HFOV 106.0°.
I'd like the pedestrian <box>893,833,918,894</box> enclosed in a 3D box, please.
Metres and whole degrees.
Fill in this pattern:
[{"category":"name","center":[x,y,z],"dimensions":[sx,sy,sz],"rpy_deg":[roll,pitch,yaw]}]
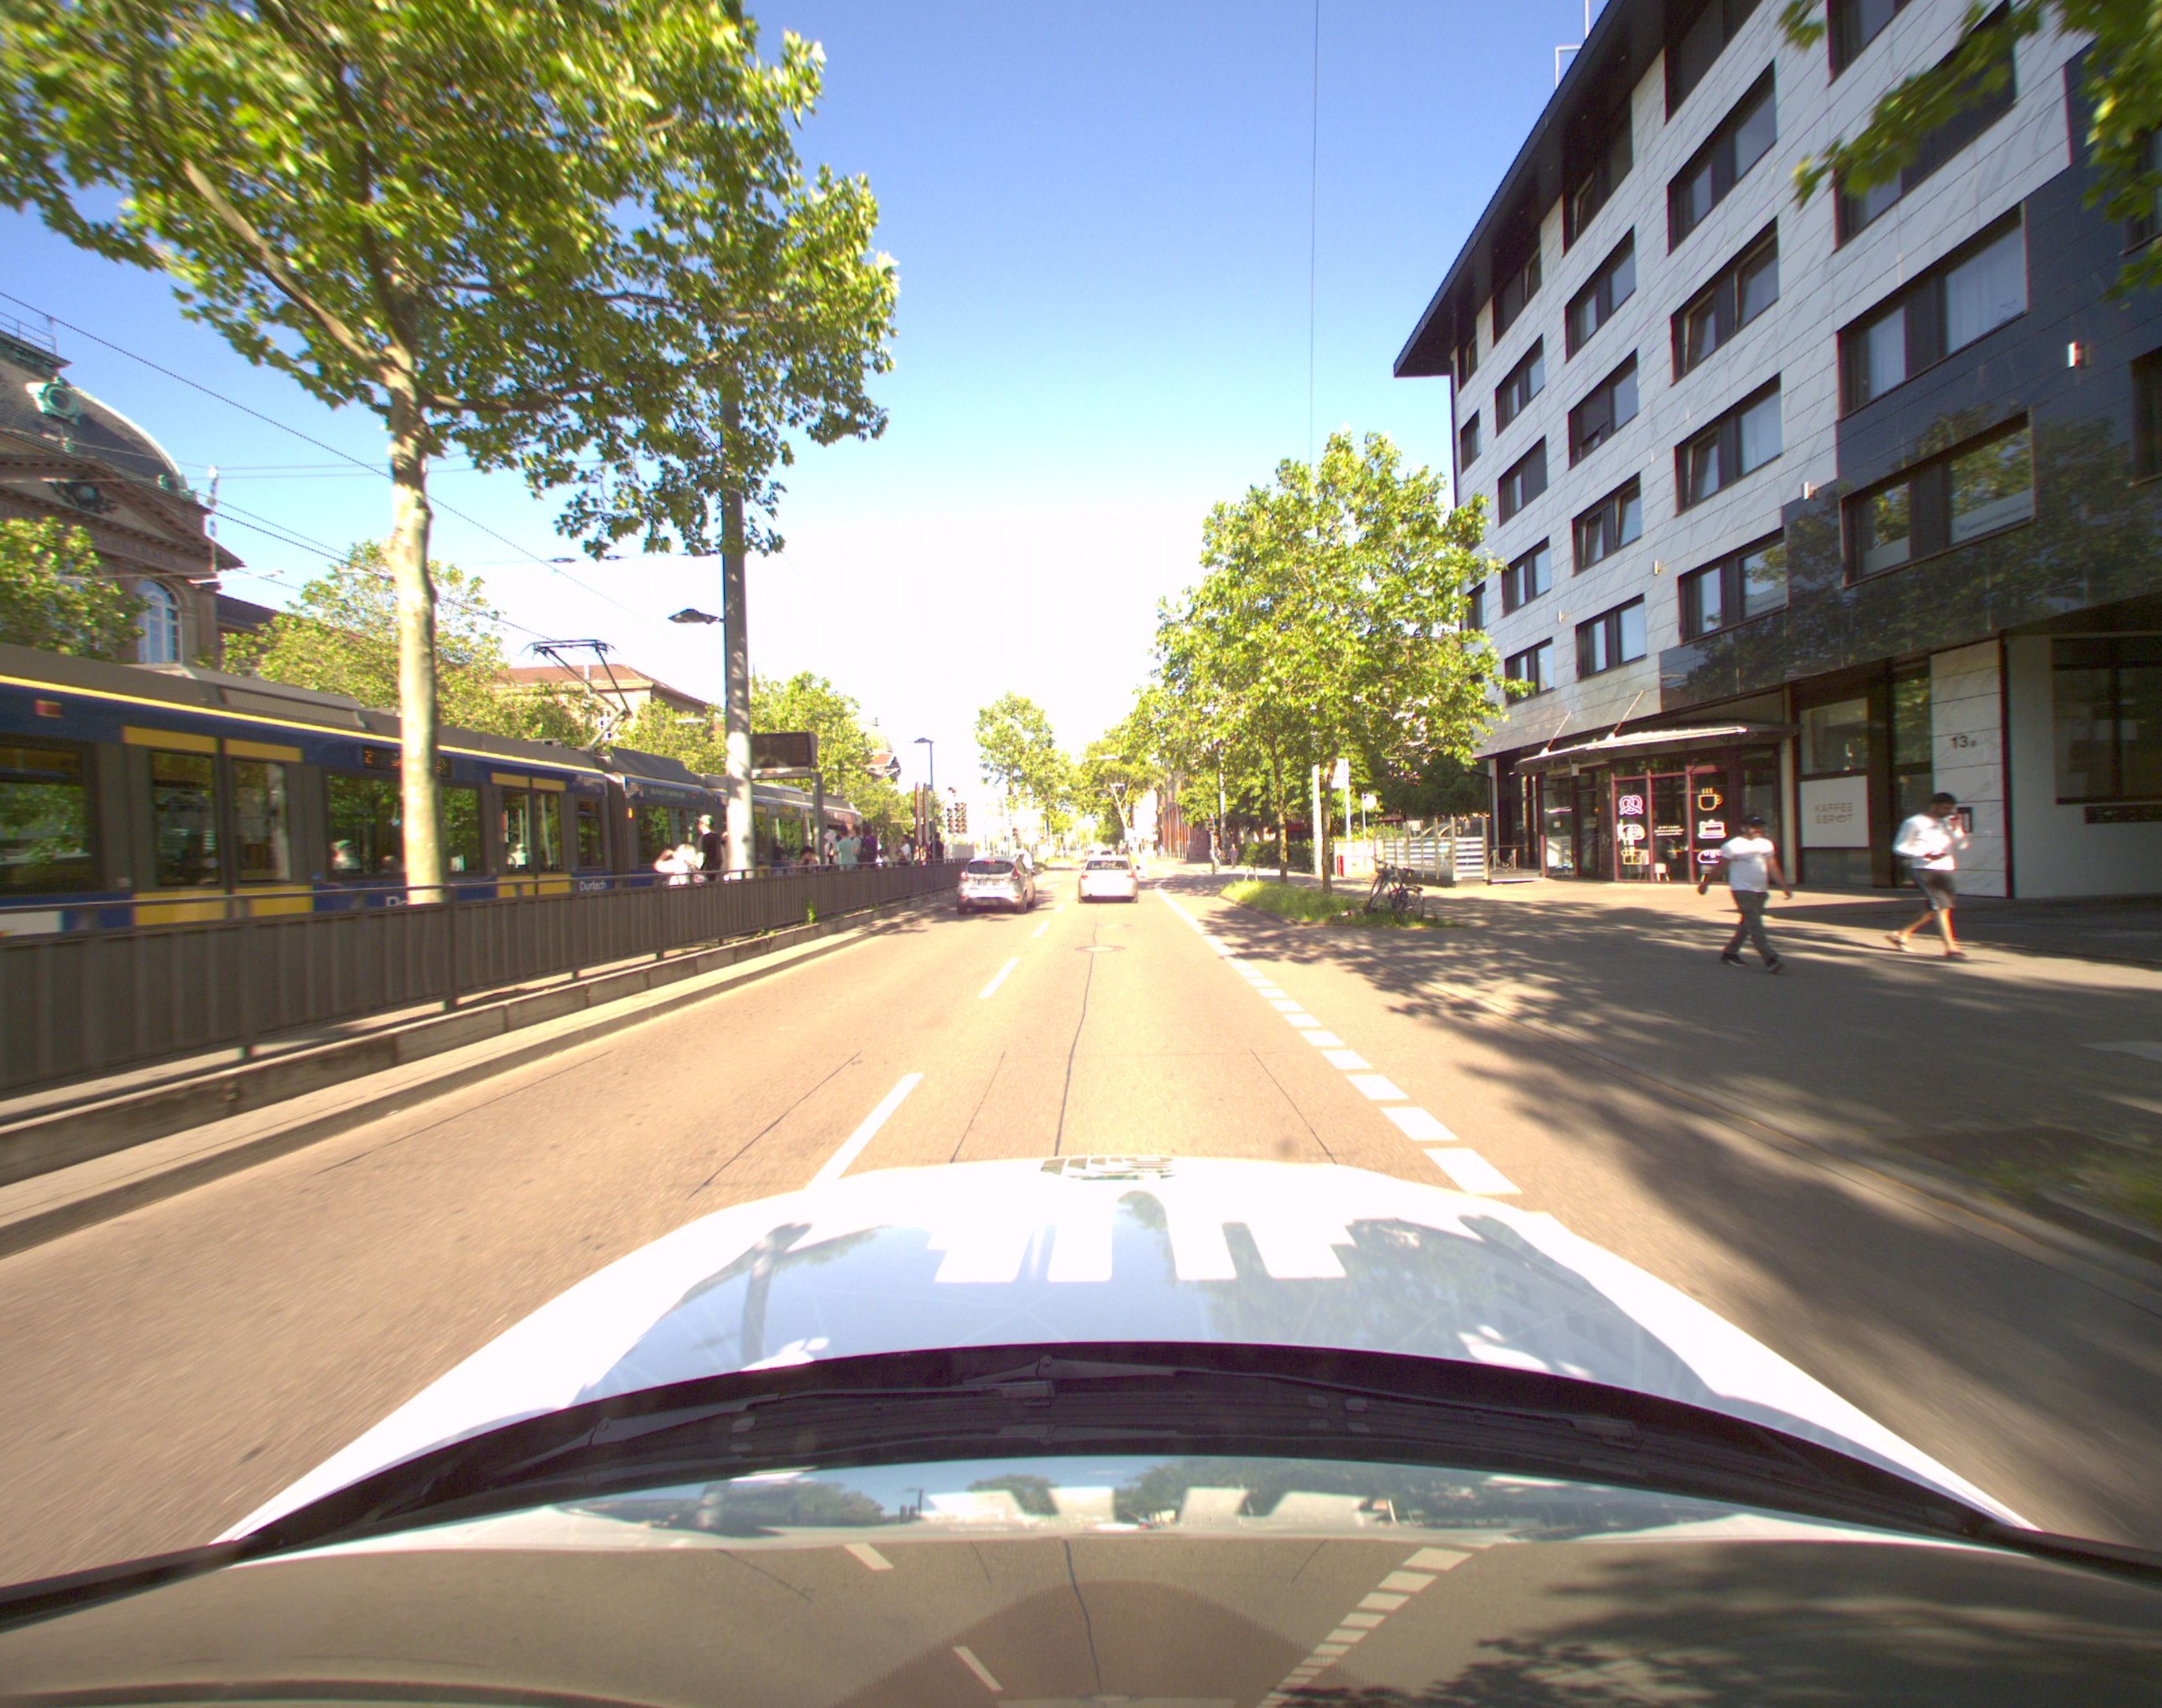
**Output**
[{"category":"pedestrian","center":[-4.996,0.255,23.193],"dimensions":[0.504,1.702,0.611],"rpy_deg":[-2,0,-2]}]

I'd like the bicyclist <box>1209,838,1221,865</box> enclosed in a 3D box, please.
[{"category":"bicyclist","center":[8.380,-0.167,50.824],"dimensions":[0.654,1.657,0.767],"rpy_deg":[-3,0,10]}]

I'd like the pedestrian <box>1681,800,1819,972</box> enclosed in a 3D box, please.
[{"category":"pedestrian","center":[7.130,0.317,8.737],"dimensions":[0.558,1.704,1.052],"rpy_deg":[-3,0,2]}]

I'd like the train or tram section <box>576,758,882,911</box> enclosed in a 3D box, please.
[{"category":"train or tram section","center":[-9.122,-0.352,23.962],"dimensions":[2.903,3.260,13.118],"rpy_deg":[0,-1,2]}]

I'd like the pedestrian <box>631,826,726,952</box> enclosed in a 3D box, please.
[{"category":"pedestrian","center":[-5.126,0.430,10.419],"dimensions":[0.773,1.509,0.751],"rpy_deg":[-3,0,-2]}]

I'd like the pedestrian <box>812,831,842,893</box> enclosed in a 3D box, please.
[{"category":"pedestrian","center":[-7.113,0.217,22.816],"dimensions":[0.607,1.702,0.545],"rpy_deg":[-2,0,-2]}]

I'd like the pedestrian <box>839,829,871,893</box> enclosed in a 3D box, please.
[{"category":"pedestrian","center":[-6.265,0.185,22.584],"dimensions":[0.631,1.702,0.746],"rpy_deg":[-2,0,-2]}]

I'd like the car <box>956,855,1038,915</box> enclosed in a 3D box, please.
[{"category":"car","center":[-2.098,0.737,21.298],"dimensions":[1.654,1.409,3.633],"rpy_deg":[-1,0,1]}]

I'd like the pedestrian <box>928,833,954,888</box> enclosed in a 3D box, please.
[{"category":"pedestrian","center":[-4.532,0.214,26.337],"dimensions":[0.552,1.734,0.533],"rpy_deg":[-3,0,-39]}]

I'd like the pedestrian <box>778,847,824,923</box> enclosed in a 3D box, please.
[{"category":"pedestrian","center":[-4.785,0.518,13.943],"dimensions":[0.532,1.246,0.604],"rpy_deg":[-3,0,0]}]

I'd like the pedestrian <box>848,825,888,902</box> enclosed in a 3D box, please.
[{"category":"pedestrian","center":[-4.833,0.201,18.490],"dimensions":[0.658,1.696,0.571],"rpy_deg":[-2,0,3]}]

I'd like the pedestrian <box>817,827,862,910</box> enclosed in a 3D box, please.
[{"category":"pedestrian","center":[-4.893,0.283,16.519],"dimensions":[0.658,1.634,0.571],"rpy_deg":[-2,0,3]}]

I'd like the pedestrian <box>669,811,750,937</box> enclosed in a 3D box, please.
[{"category":"pedestrian","center":[-5.439,0.282,11.965],"dimensions":[0.773,1.752,0.723],"rpy_deg":[-3,0,-2]}]

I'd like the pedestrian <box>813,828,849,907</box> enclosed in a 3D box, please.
[{"category":"pedestrian","center":[-5.555,0.285,18.133],"dimensions":[0.513,1.708,0.621],"rpy_deg":[-2,0,1]}]

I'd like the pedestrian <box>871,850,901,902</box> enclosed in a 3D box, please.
[{"category":"pedestrian","center":[-4.655,0.515,19.469],"dimensions":[0.543,1.192,0.531],"rpy_deg":[-2,0,1]}]

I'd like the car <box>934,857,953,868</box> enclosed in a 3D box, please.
[{"category":"car","center":[-21.727,1.383,128.821],"dimensions":[1.984,1.625,4.006],"rpy_deg":[-2,0,5]}]

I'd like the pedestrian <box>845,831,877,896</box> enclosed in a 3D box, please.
[{"category":"pedestrian","center":[-5.806,0.240,21.468],"dimensions":[0.617,1.649,0.622],"rpy_deg":[-2,0,-2]}]

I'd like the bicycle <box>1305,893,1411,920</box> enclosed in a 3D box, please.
[{"category":"bicycle","center":[5.300,0.997,15.699],"dimensions":[1.602,0.353,1.389],"rpy_deg":[-2,0,2]}]

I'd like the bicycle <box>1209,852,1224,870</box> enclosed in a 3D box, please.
[{"category":"bicycle","center":[8.445,0.430,50.837],"dimensions":[0.826,1.041,1.880],"rpy_deg":[-3,0,11]}]

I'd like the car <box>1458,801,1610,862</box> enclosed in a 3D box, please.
[{"category":"car","center":[18.086,-0.873,32.691],"dimensions":[4.879,1.984,1.914],"rpy_deg":[-5,0,2]}]

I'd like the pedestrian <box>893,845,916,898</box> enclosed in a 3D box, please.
[{"category":"pedestrian","center":[-4.467,0.443,20.663],"dimensions":[0.414,1.316,0.507],"rpy_deg":[-2,0,0]}]

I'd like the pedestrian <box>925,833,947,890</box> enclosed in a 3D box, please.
[{"category":"pedestrian","center":[-4.500,0.221,25.281],"dimensions":[0.546,1.734,0.539],"rpy_deg":[-2,0,-2]}]

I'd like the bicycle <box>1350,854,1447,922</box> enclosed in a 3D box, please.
[{"category":"bicycle","center":[5.806,0.590,15.014],"dimensions":[0.788,1.133,1.839],"rpy_deg":[-2,0,-11]}]

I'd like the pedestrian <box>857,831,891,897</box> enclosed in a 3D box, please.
[{"category":"pedestrian","center":[-5.444,0.262,21.380],"dimensions":[0.500,1.702,0.615],"rpy_deg":[-2,0,39]}]

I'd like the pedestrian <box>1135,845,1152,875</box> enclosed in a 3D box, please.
[{"category":"pedestrian","center":[3.391,0.330,44.422],"dimensions":[0.824,1.575,0.741],"rpy_deg":[-2,0,9]}]

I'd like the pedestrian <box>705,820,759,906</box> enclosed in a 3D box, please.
[{"category":"pedestrian","center":[-5.522,0.138,12.901],"dimensions":[0.532,1.299,0.604],"rpy_deg":[-3,0,-2]}]

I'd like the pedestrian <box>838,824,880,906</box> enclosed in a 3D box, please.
[{"category":"pedestrian","center":[-4.758,0.236,17.467],"dimensions":[0.658,1.696,0.571],"rpy_deg":[-2,0,3]}]

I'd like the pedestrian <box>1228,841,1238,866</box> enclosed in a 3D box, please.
[{"category":"pedestrian","center":[9.970,-0.022,53.335],"dimensions":[0.622,1.629,0.946],"rpy_deg":[-1,0,10]}]

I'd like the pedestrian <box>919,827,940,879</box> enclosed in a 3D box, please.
[{"category":"pedestrian","center":[-5.155,-0.036,27.789],"dimensions":[0.546,1.734,0.539],"rpy_deg":[-2,0,-2]}]

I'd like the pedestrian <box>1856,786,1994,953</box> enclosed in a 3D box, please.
[{"category":"pedestrian","center":[9.317,0.162,9.029],"dimensions":[0.558,1.744,0.879],"rpy_deg":[-3,0,1]}]

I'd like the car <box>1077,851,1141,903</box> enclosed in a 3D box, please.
[{"category":"car","center":[0.940,0.658,25.199],"dimensions":[1.721,1.390,3.846],"rpy_deg":[-1,1,6]}]

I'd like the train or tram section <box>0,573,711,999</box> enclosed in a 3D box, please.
[{"category":"train or tram section","center":[-9.616,-0.484,9.434],"dimensions":[2.903,3.260,15.899],"rpy_deg":[0,-1,2]}]
